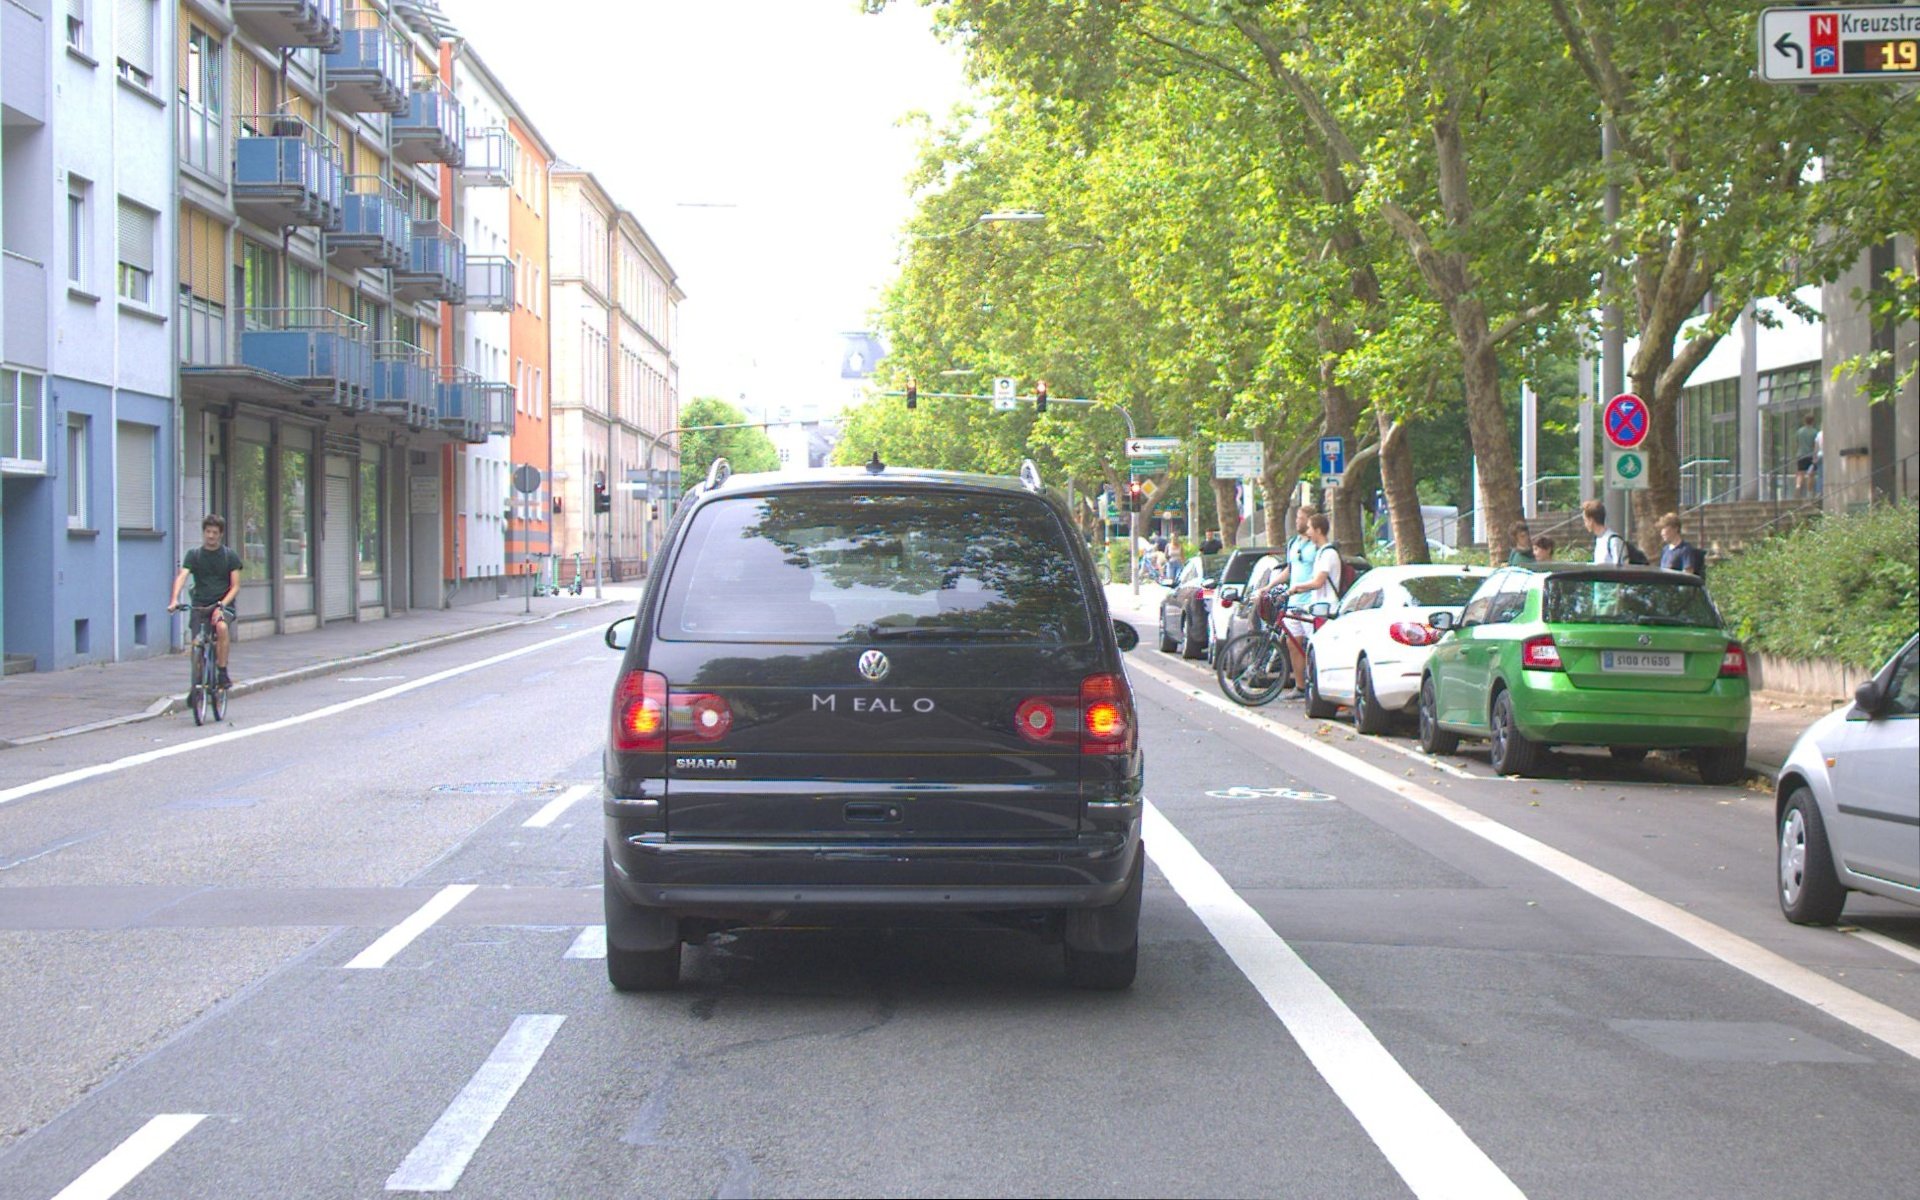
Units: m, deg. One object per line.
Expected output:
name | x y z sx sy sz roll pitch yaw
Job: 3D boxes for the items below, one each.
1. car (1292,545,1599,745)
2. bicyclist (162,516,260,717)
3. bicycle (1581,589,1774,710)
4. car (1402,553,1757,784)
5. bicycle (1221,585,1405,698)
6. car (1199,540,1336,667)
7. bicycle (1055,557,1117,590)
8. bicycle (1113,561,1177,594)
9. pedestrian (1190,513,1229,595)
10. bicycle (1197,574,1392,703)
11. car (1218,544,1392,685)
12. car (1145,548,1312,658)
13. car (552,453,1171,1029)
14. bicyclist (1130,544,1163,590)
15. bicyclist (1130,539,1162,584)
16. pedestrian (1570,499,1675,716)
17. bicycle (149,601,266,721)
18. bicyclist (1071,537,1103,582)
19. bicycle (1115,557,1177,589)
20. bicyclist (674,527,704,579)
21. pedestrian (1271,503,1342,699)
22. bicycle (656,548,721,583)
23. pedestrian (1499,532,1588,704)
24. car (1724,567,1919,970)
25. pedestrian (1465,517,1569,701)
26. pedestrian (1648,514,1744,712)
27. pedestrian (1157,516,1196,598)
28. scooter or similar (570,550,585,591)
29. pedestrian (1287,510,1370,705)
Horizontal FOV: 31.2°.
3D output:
car | 4.059 0.319 29.429 1.680 1.511 4.545 2 1 -3
bicyclist | -6.882 0.142 31.622 0.652 1.804 1.046 -1 0 -1
bicycle | 6.914 0.476 33.143 1.766 1.128 0.462 1 1 -12
car | 4.320 0.426 24.512 1.587 1.445 3.806 2 1 -3
bicycle | 3.543 0.417 34.531 1.734 1.102 0.552 1 1 -12
car | 3.886 0.025 43.697 1.535 1.538 2.599 1 1 2
bicycle | 4.087 -0.865 111.441 1.924 1.025 0.583 1 1 -11
bicycle | 5.934 -0.735 110.259 1.924 1.025 0.583 1 1 -11
pedestrian | 5.563 -1.020 76.677 0.715 1.794 1.034 -2 0 -2
bicycle | 3.230 0.371 33.185 1.788 1.213 0.553 1 1 -18
car | 3.880 0.130 39.136 1.528 1.497 3.660 1 1 -1
car | 3.709 0.008 48.172 1.697 1.420 4.423 1 1 -4
car | -0.377 0.382 12.698 1.874 1.739 4.574 0 1 -2
bicyclist | 5.984 -1.066 110.257 0.914 1.461 0.570 1 1 -11
bicyclist | 6.106 -1.256 112.879 0.914 1.461 0.570 1 1 -13
pedestrian | 6.181 0.059 32.097 0.793 1.990 0.750 1 1 -1
bicycle | -6.879 0.542 31.518 0.646 1.011 2.077 -1 1 -1
bicyclist | 4.113 -1.319 111.416 0.914 1.461 0.570 1 1 -11
bicycle | 6.119 -0.893 112.895 1.924 1.025 0.583 1 1 -14
bicyclist | -8.170 -1.429 103.732 0.855 1.562 0.577 1 0 -9
pedestrian | 3.448 0.004 34.246 0.474 1.928 0.745 1 1 -12
bicycle | -8.193 -1.052 103.731 1.924 1.025 0.583 1 1 -9
pedestrian | 5.712 0.169 33.689 0.721 1.652 0.655 1 1 -1
car | 4.302 0.642 12.871 1.642 1.442 3.883 2 1 -6
pedestrian | 5.579 0.087 34.463 0.871 1.810 0.780 1 1 -1
pedestrian | 6.999 0.116 32.710 0.721 1.848 0.703 1 1 -1
pedestrian | 4.827 -0.959 76.666 0.710 1.777 1.034 -2 0 -2
scooter or similar | -10.884 -0.827 97.860 0.378 1.140 1.142 0 -1 -5
pedestrian | 3.524 0.064 32.913 0.519 1.839 0.745 1 1 -16
